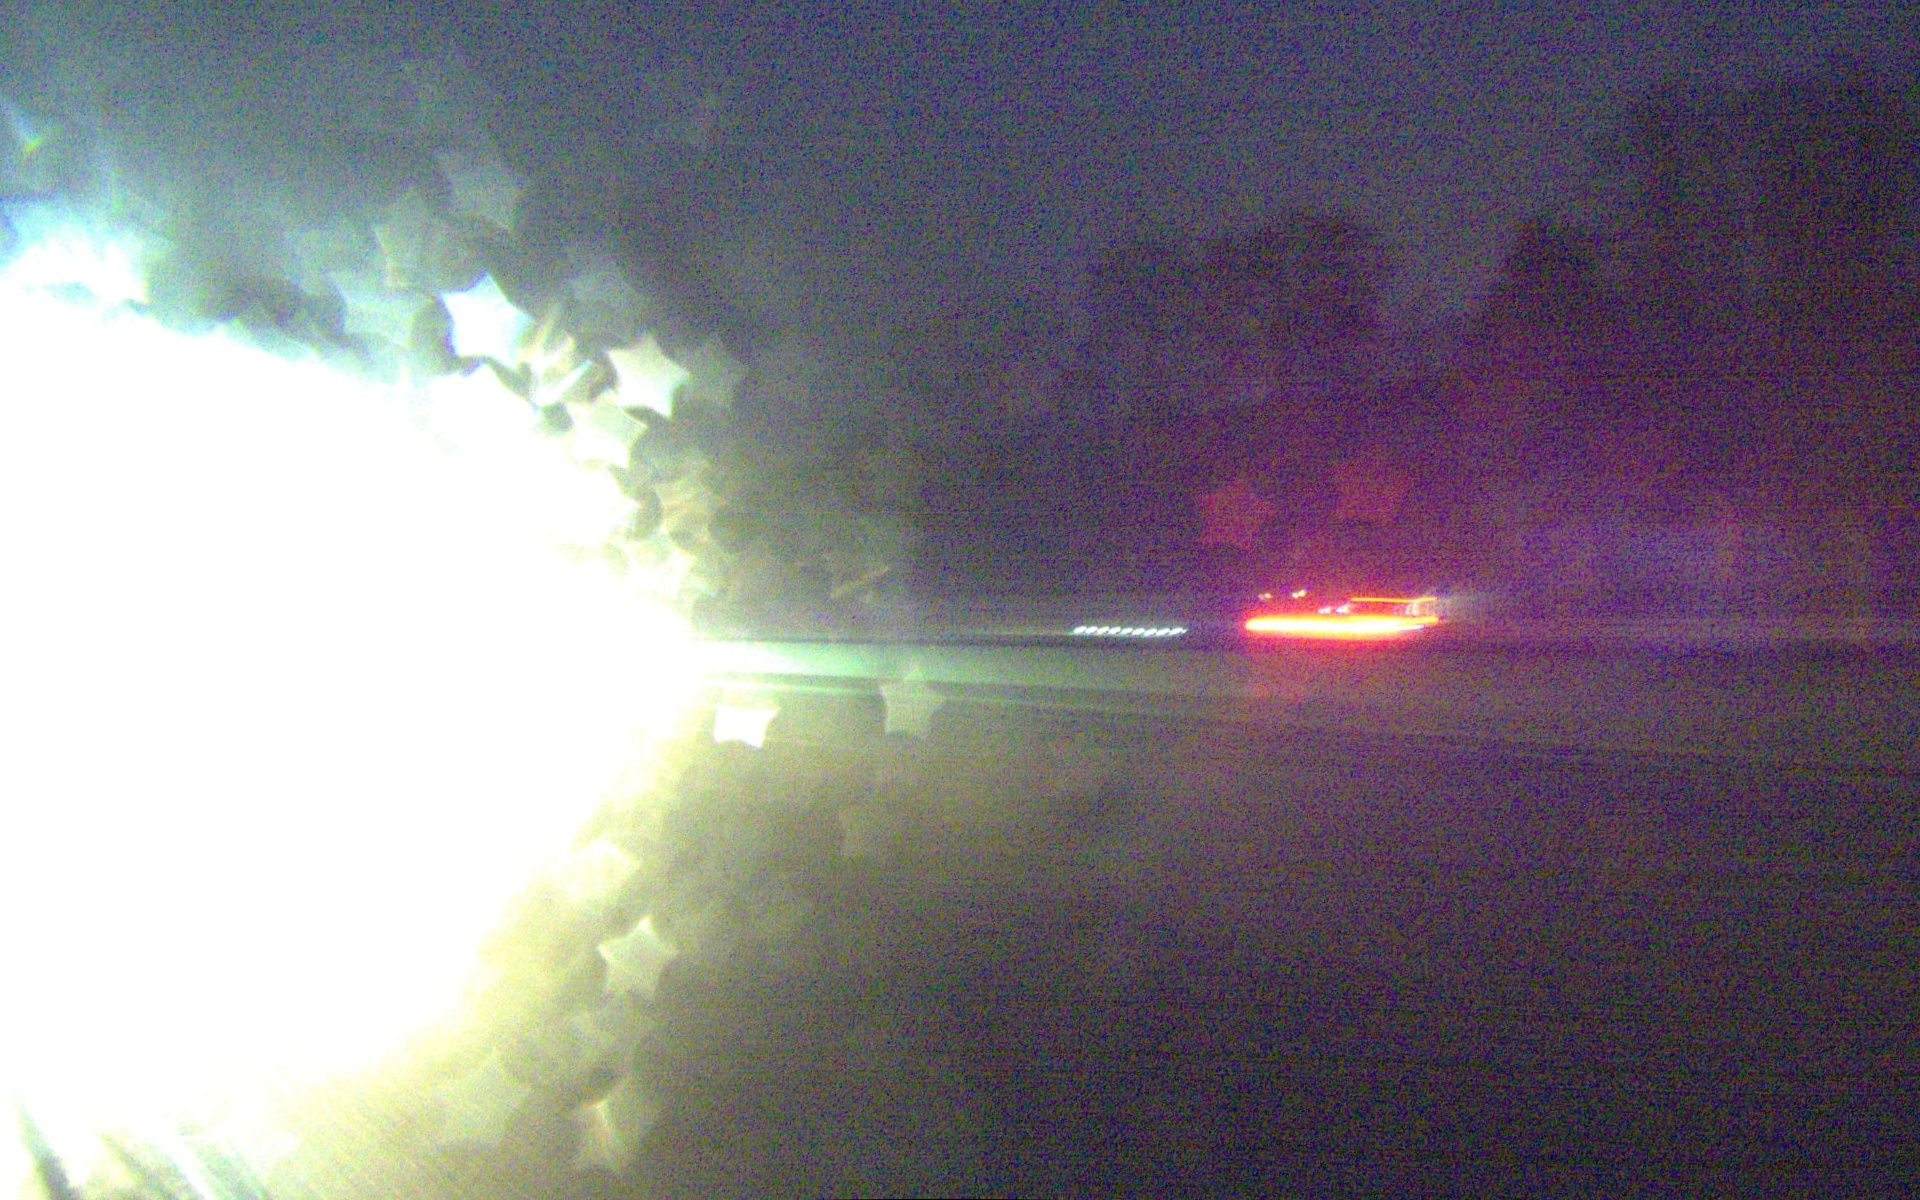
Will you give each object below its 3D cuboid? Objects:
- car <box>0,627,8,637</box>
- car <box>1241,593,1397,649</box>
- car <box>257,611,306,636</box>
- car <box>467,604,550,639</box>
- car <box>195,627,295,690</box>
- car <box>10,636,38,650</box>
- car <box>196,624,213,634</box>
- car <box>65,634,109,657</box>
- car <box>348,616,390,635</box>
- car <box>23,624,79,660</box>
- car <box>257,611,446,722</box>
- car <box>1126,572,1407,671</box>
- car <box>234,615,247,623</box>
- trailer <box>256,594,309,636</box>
[{"bbox_3d":[-147.908,4.997,155.712,1.971,1.397,4.003,-4,2,-44],"label":"car"},{"bbox_3d":[10.626,0.614,30.106,3.983,1.482,1.758,-1,2,41],"label":"car"},{"bbox_3d":[-47.961,1.662,71.516,4.398,1.608,1.758,-1,2,41],"label":"car"},{"bbox_3d":[-23.056,1.110,51.607,5.020,1.608,1.973,-2,2,42],"label":"car"},{"bbox_3d":[-25.680,2.030,36.307,4.530,2.029,2.114,-1,0,44],"label":"car"},{"bbox_3d":[-84.994,3.881,91.856,3.421,1.165,1.670,-1,0,44],"label":"car"},{"bbox_3d":[-126.812,4.890,169.827,1.755,1.608,4.004,-4,2,-43],"label":"car"},{"bbox_3d":[-69.602,3.584,80.673,3.873,1.621,2.279,-1,0,44],"label":"car"},{"bbox_3d":[-55.219,2.363,94.540,5.149,1.608,1.758,-1,2,41],"label":"car"},{"bbox_3d":[-46.238,2.081,51.477,1.970,1.689,4.003,-1,0,-44],"label":"car"},{"bbox_3d":[-10.501,1.032,17.334,1.893,1.606,4.237,-1,0,-44],"label":"car"},{"bbox_3d":[5.700,0.370,19.167,4.671,1.608,1.973,-1,2,41],"label":"car"},{"bbox_3d":[-147.153,3.870,206.928,1.754,1.608,4.006,-4,1,-41],"label":"car"},{"bbox_3d":[-86.628,1.903,129.178,3.226,5.106,13.983,-1,0,-44],"label":"trailer"}]
